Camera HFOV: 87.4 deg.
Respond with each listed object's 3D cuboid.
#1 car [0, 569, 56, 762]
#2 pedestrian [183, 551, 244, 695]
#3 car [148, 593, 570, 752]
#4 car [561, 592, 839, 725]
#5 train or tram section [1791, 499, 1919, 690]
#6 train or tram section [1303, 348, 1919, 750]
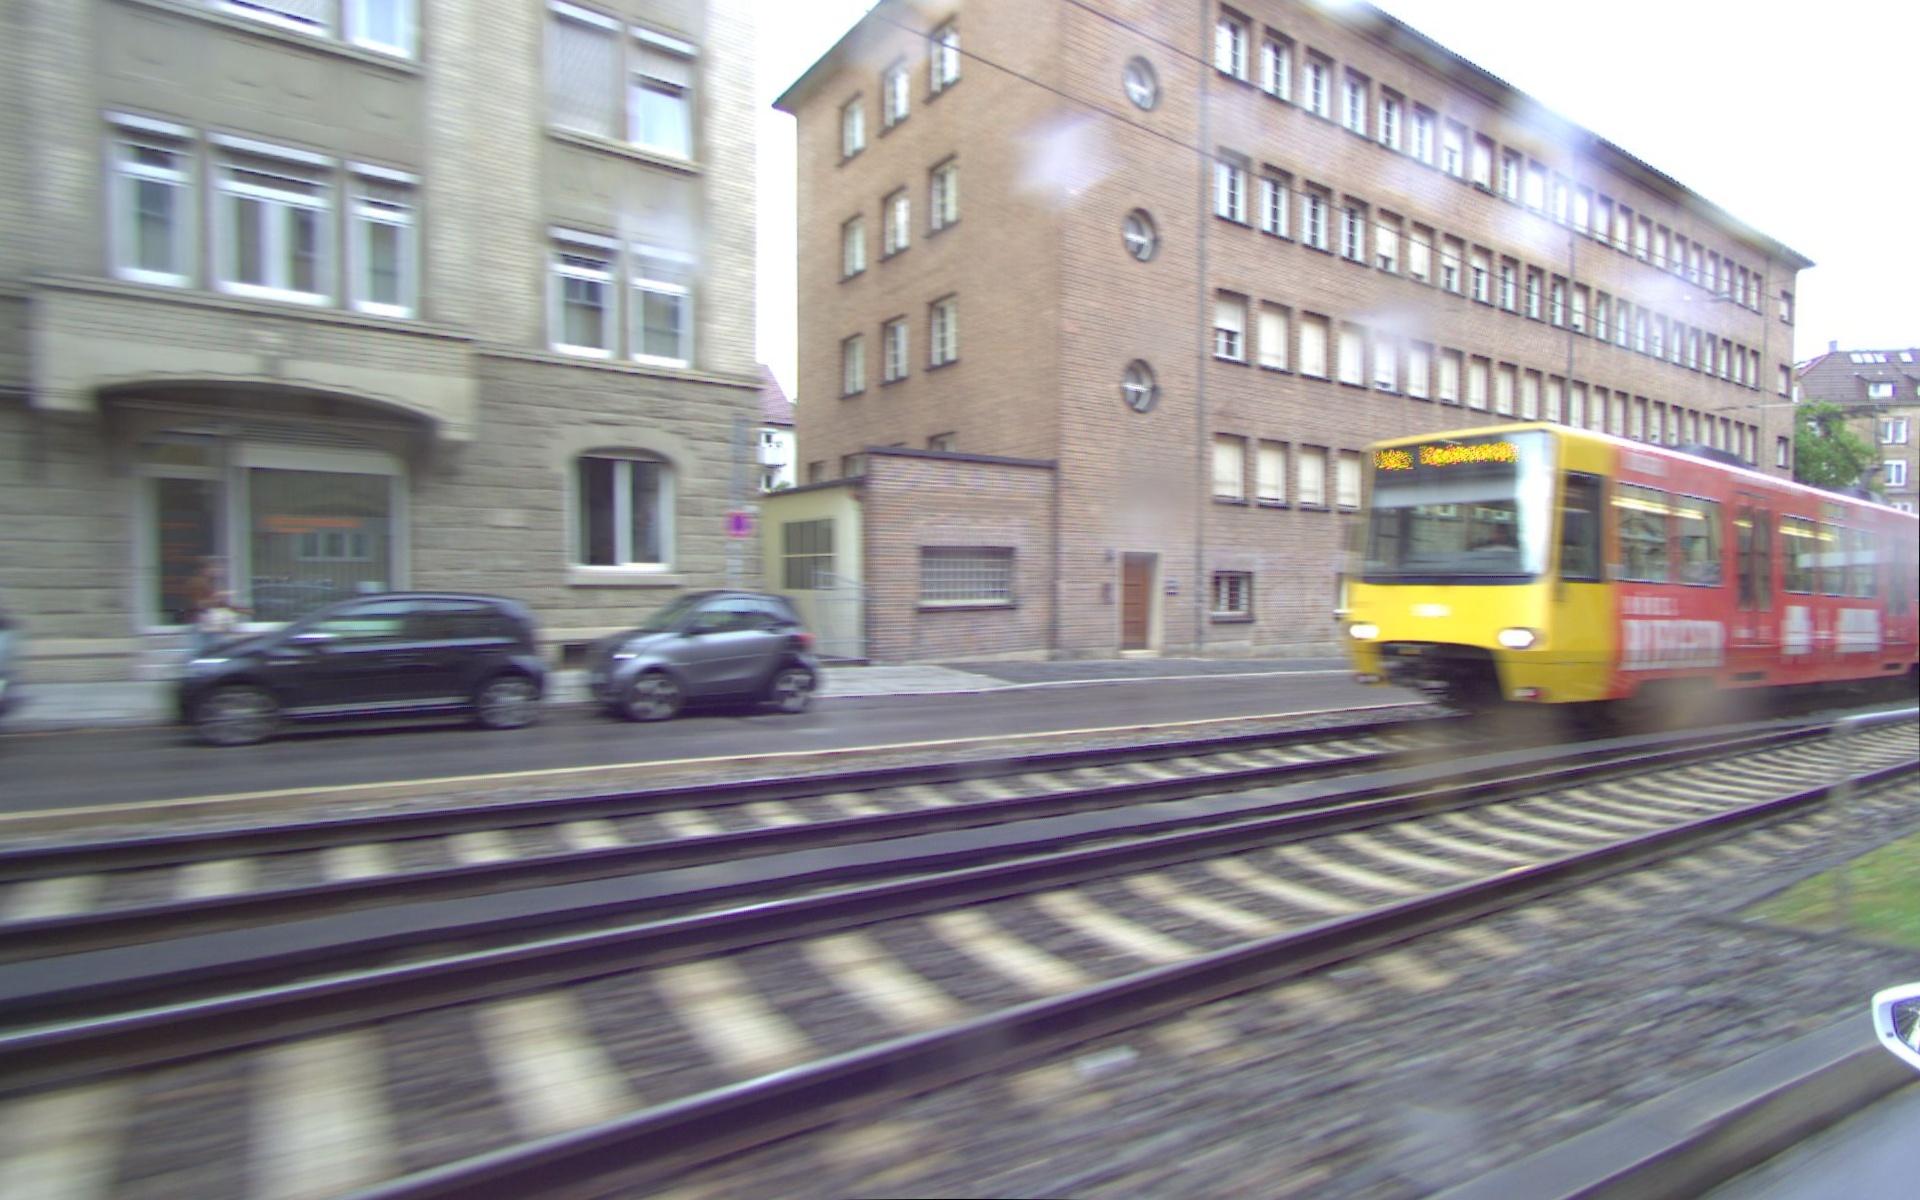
[{"bbox_3d":[-10.127,0.495,7.865,4.293,1.602,1.634,1,0,-34],"label":"car"},{"bbox_3d":[-8.915,0.269,12.010,0.537,1.676,0.545,1,0,-34],"label":"pedestrian"},{"bbox_3d":[-6.227,0.680,10.713,3.594,1.422,1.634,1,0,-34],"label":"car"},{"bbox_3d":[-3.296,0.681,12.835,3.078,1.486,1.634,1,0,-33],"label":"car"},{"bbox_3d":[27.475,0.107,27.214,19.668,3.973,2.696,2,0,-36],"label":"train or tram section"},{"bbox_3d":[12.712,-0.290,16.628,19.109,3.973,2.696,2,0,-36],"label":"train or tram section"}]
